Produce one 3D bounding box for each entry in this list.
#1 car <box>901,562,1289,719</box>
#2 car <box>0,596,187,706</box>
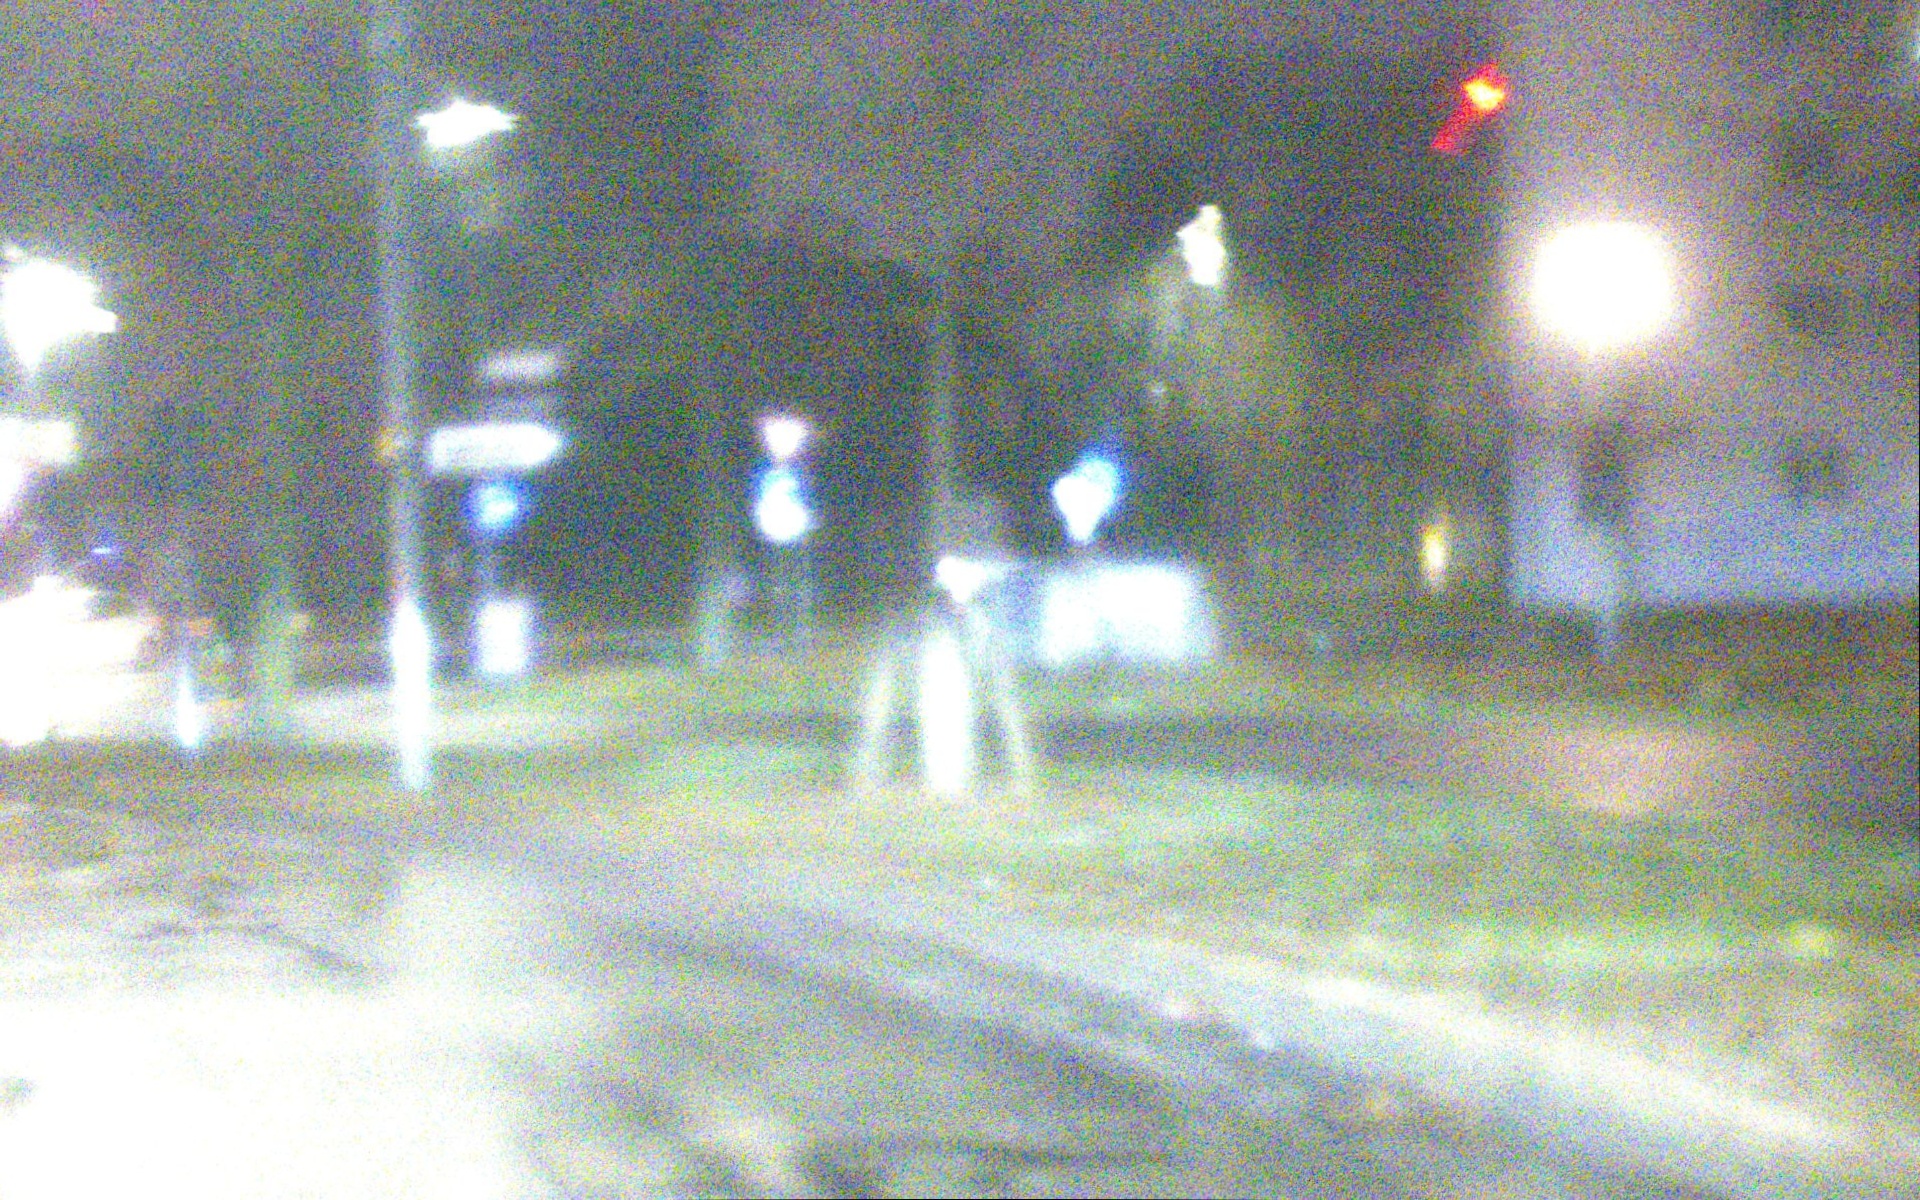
[{"bbox_3d":[1.529,0.426,39.190,3.994,1.678,1.915,0,1,32],"label":"car"},{"bbox_3d":[-15.784,0.858,60.091,1.875,1.752,4.386,0,1,32],"label":"car"}]
